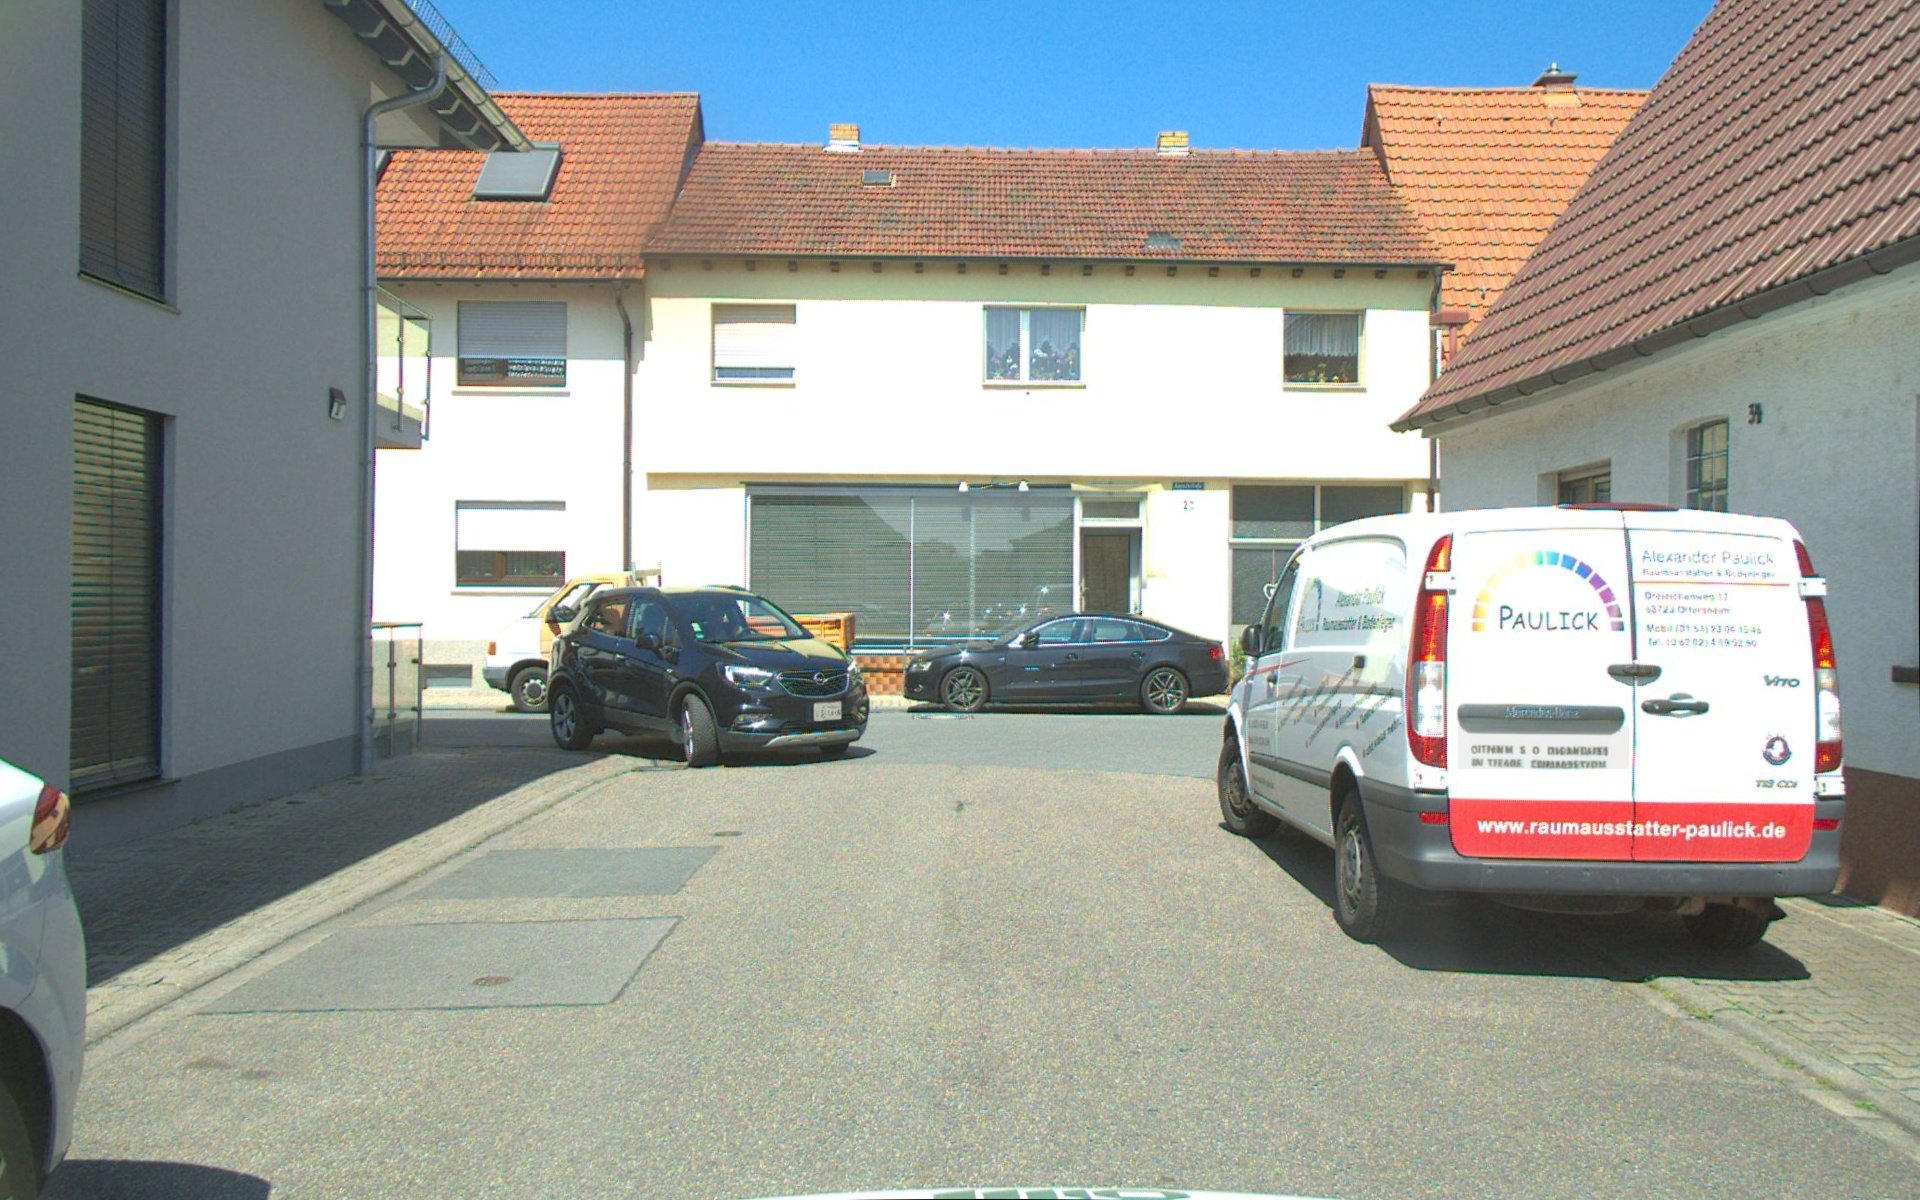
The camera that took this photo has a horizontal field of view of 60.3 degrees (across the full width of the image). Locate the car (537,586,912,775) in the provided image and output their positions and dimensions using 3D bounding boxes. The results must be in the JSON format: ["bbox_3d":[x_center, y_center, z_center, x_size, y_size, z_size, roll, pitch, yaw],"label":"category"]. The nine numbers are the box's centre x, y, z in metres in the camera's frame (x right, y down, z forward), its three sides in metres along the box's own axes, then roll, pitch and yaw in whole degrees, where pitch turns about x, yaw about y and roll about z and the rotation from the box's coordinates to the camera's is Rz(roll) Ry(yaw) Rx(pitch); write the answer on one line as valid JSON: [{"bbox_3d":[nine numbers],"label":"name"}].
[{"bbox_3d":[-2.460,0.694,16.431,1.746,1.610,4.219,-1,0,-40],"label":"car"}]

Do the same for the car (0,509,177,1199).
[{"bbox_3d":[-2.482,0.667,1.379,1.738,1.643,4.347,0,0,-3],"label":"car"}]

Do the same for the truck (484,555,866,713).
[{"bbox_3d":[-3.894,0.474,23.333,4.959,2.049,2.189,1,-1,0],"label":"truck"}]

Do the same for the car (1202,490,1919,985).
[{"bbox_3d":[2.726,0.537,9.052,1.971,1.871,5.265,1,0,0],"label":"car"}]

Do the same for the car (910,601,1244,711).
[{"bbox_3d":[1.571,0.815,23.380,4.523,1.419,1.927,1,-3,-2],"label":"car"}]
